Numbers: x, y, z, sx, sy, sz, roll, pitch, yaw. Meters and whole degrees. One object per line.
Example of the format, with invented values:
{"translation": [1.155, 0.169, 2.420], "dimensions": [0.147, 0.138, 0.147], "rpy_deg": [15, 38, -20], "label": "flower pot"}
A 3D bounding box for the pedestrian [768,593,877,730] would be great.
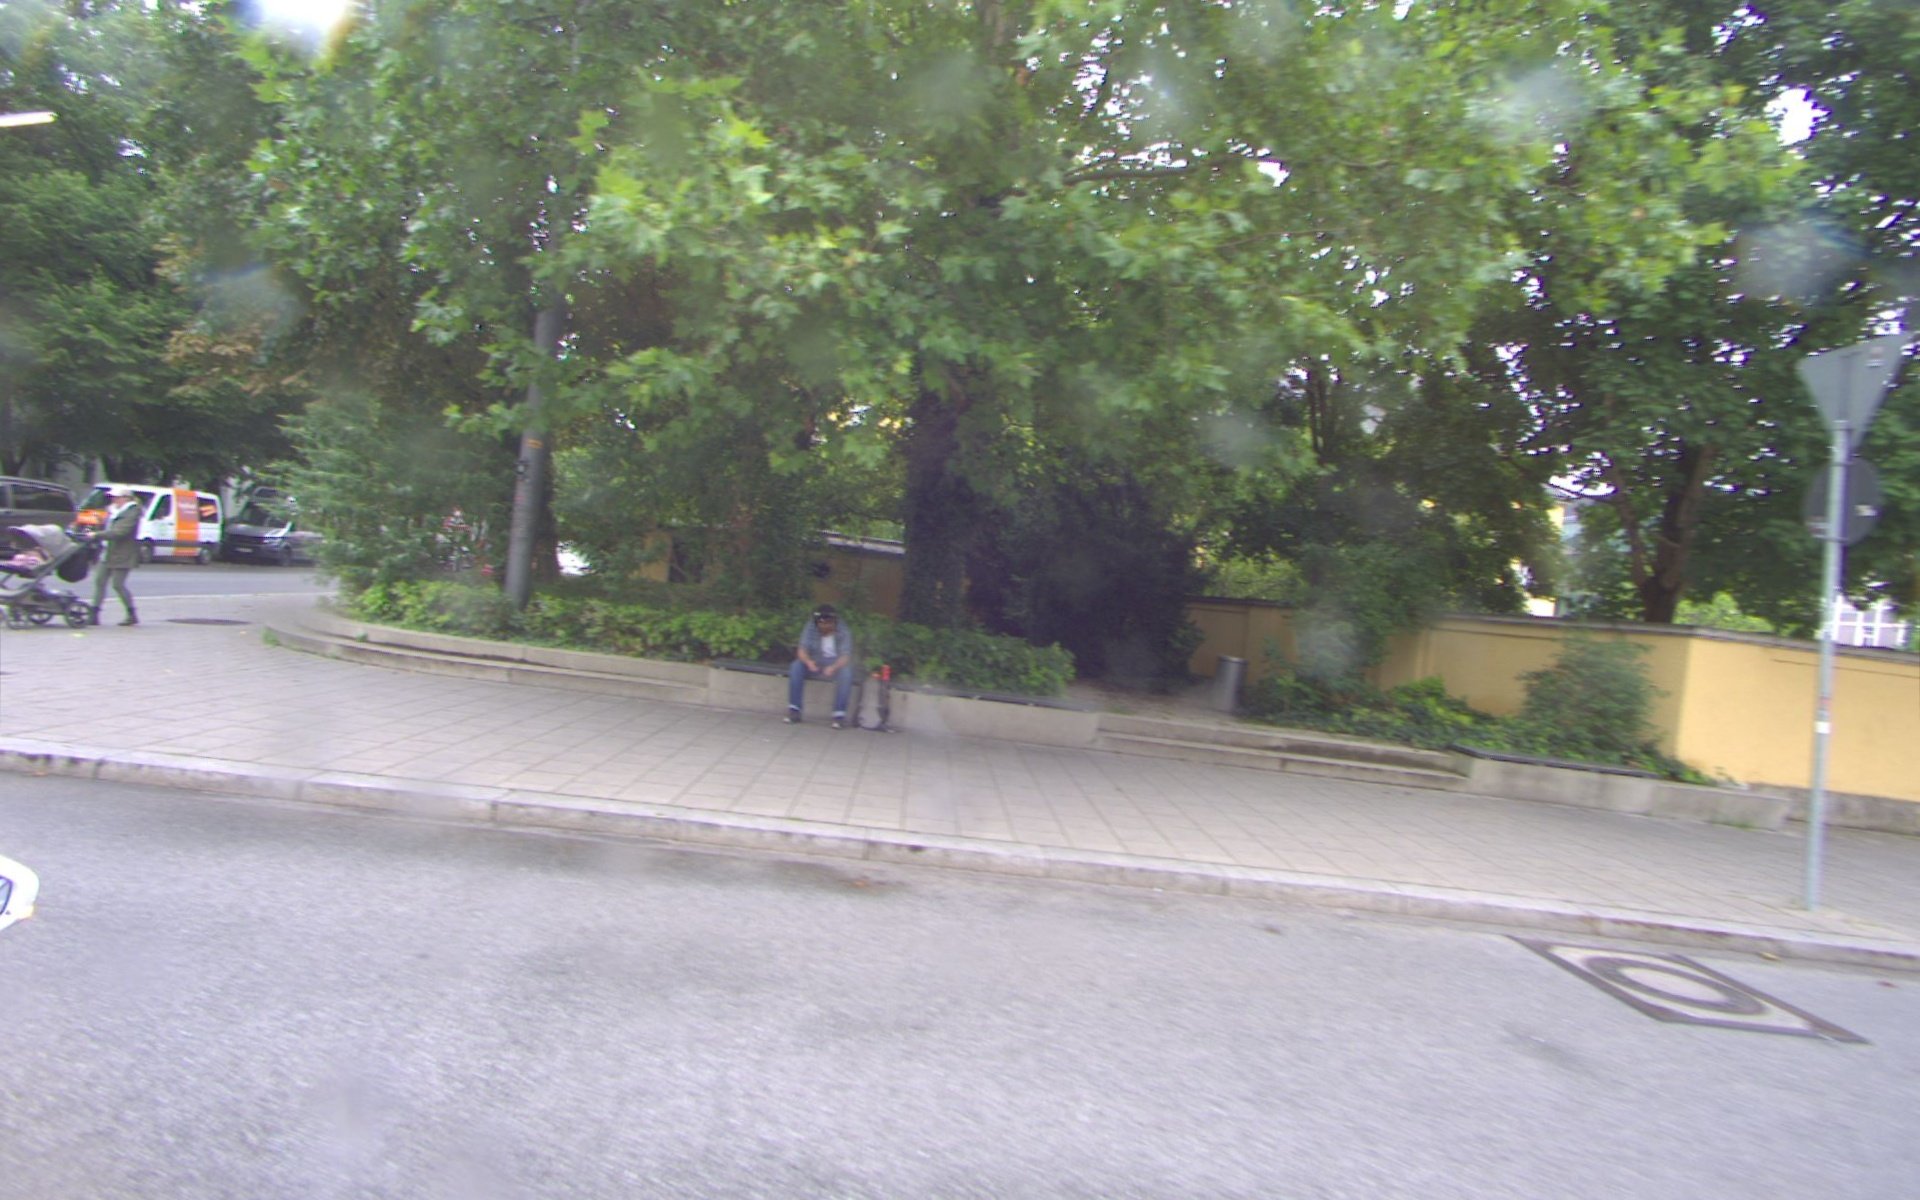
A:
{"translation": [-1.329, 0.583, 9.893], "dimensions": [0.799, 1.204, 0.919], "rpy_deg": [6, 1, 2], "label": "pedestrian"}

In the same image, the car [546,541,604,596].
{"translation": [-20.415, -1.645, 53.592], "dimensions": [2.015, 2.590, 5.233], "rpy_deg": [6, 0, -14], "label": "car"}

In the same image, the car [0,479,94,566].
{"translation": [-22.868, -1.915, 23.136], "dimensions": [2.036, 1.882, 4.978], "rpy_deg": [7, 0, -9], "label": "car"}

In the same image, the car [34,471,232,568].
{"translation": [-24.491, -2.281, 30.109], "dimensions": [2.082, 2.279, 5.186], "rpy_deg": [6, 0, -9], "label": "car"}

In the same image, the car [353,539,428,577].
{"translation": [-28.274, -2.035, 50.058], "dimensions": [1.870, 1.557, 4.066], "rpy_deg": [7, 0, -10], "label": "car"}

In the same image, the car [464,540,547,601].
{"translation": [-17.169, -1.104, 38.205], "dimensions": [2.016, 1.946, 4.432], "rpy_deg": [6, 0, -15], "label": "car"}

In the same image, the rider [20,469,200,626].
{"translation": [-9.978, -0.585, 11.858], "dimensions": [1.065, 1.689, 1.139], "rpy_deg": [4, 1, 3], "label": "rider"}

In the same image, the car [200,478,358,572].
{"translation": [-26.300, -2.757, 39.254], "dimensions": [2.303, 2.958, 6.568], "rpy_deg": [6, 0, -9], "label": "car"}

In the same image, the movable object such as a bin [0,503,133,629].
{"translation": [-10.048, -0.371, 10.995], "dimensions": [1.061, 1.283, 1.086], "rpy_deg": [4, 1, 3], "label": "movable object such as a bin"}

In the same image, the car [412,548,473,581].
{"translation": [-30.010, -2.037, 58.442], "dimensions": [1.870, 1.590, 4.066], "rpy_deg": [7, 0, -10], "label": "car"}
